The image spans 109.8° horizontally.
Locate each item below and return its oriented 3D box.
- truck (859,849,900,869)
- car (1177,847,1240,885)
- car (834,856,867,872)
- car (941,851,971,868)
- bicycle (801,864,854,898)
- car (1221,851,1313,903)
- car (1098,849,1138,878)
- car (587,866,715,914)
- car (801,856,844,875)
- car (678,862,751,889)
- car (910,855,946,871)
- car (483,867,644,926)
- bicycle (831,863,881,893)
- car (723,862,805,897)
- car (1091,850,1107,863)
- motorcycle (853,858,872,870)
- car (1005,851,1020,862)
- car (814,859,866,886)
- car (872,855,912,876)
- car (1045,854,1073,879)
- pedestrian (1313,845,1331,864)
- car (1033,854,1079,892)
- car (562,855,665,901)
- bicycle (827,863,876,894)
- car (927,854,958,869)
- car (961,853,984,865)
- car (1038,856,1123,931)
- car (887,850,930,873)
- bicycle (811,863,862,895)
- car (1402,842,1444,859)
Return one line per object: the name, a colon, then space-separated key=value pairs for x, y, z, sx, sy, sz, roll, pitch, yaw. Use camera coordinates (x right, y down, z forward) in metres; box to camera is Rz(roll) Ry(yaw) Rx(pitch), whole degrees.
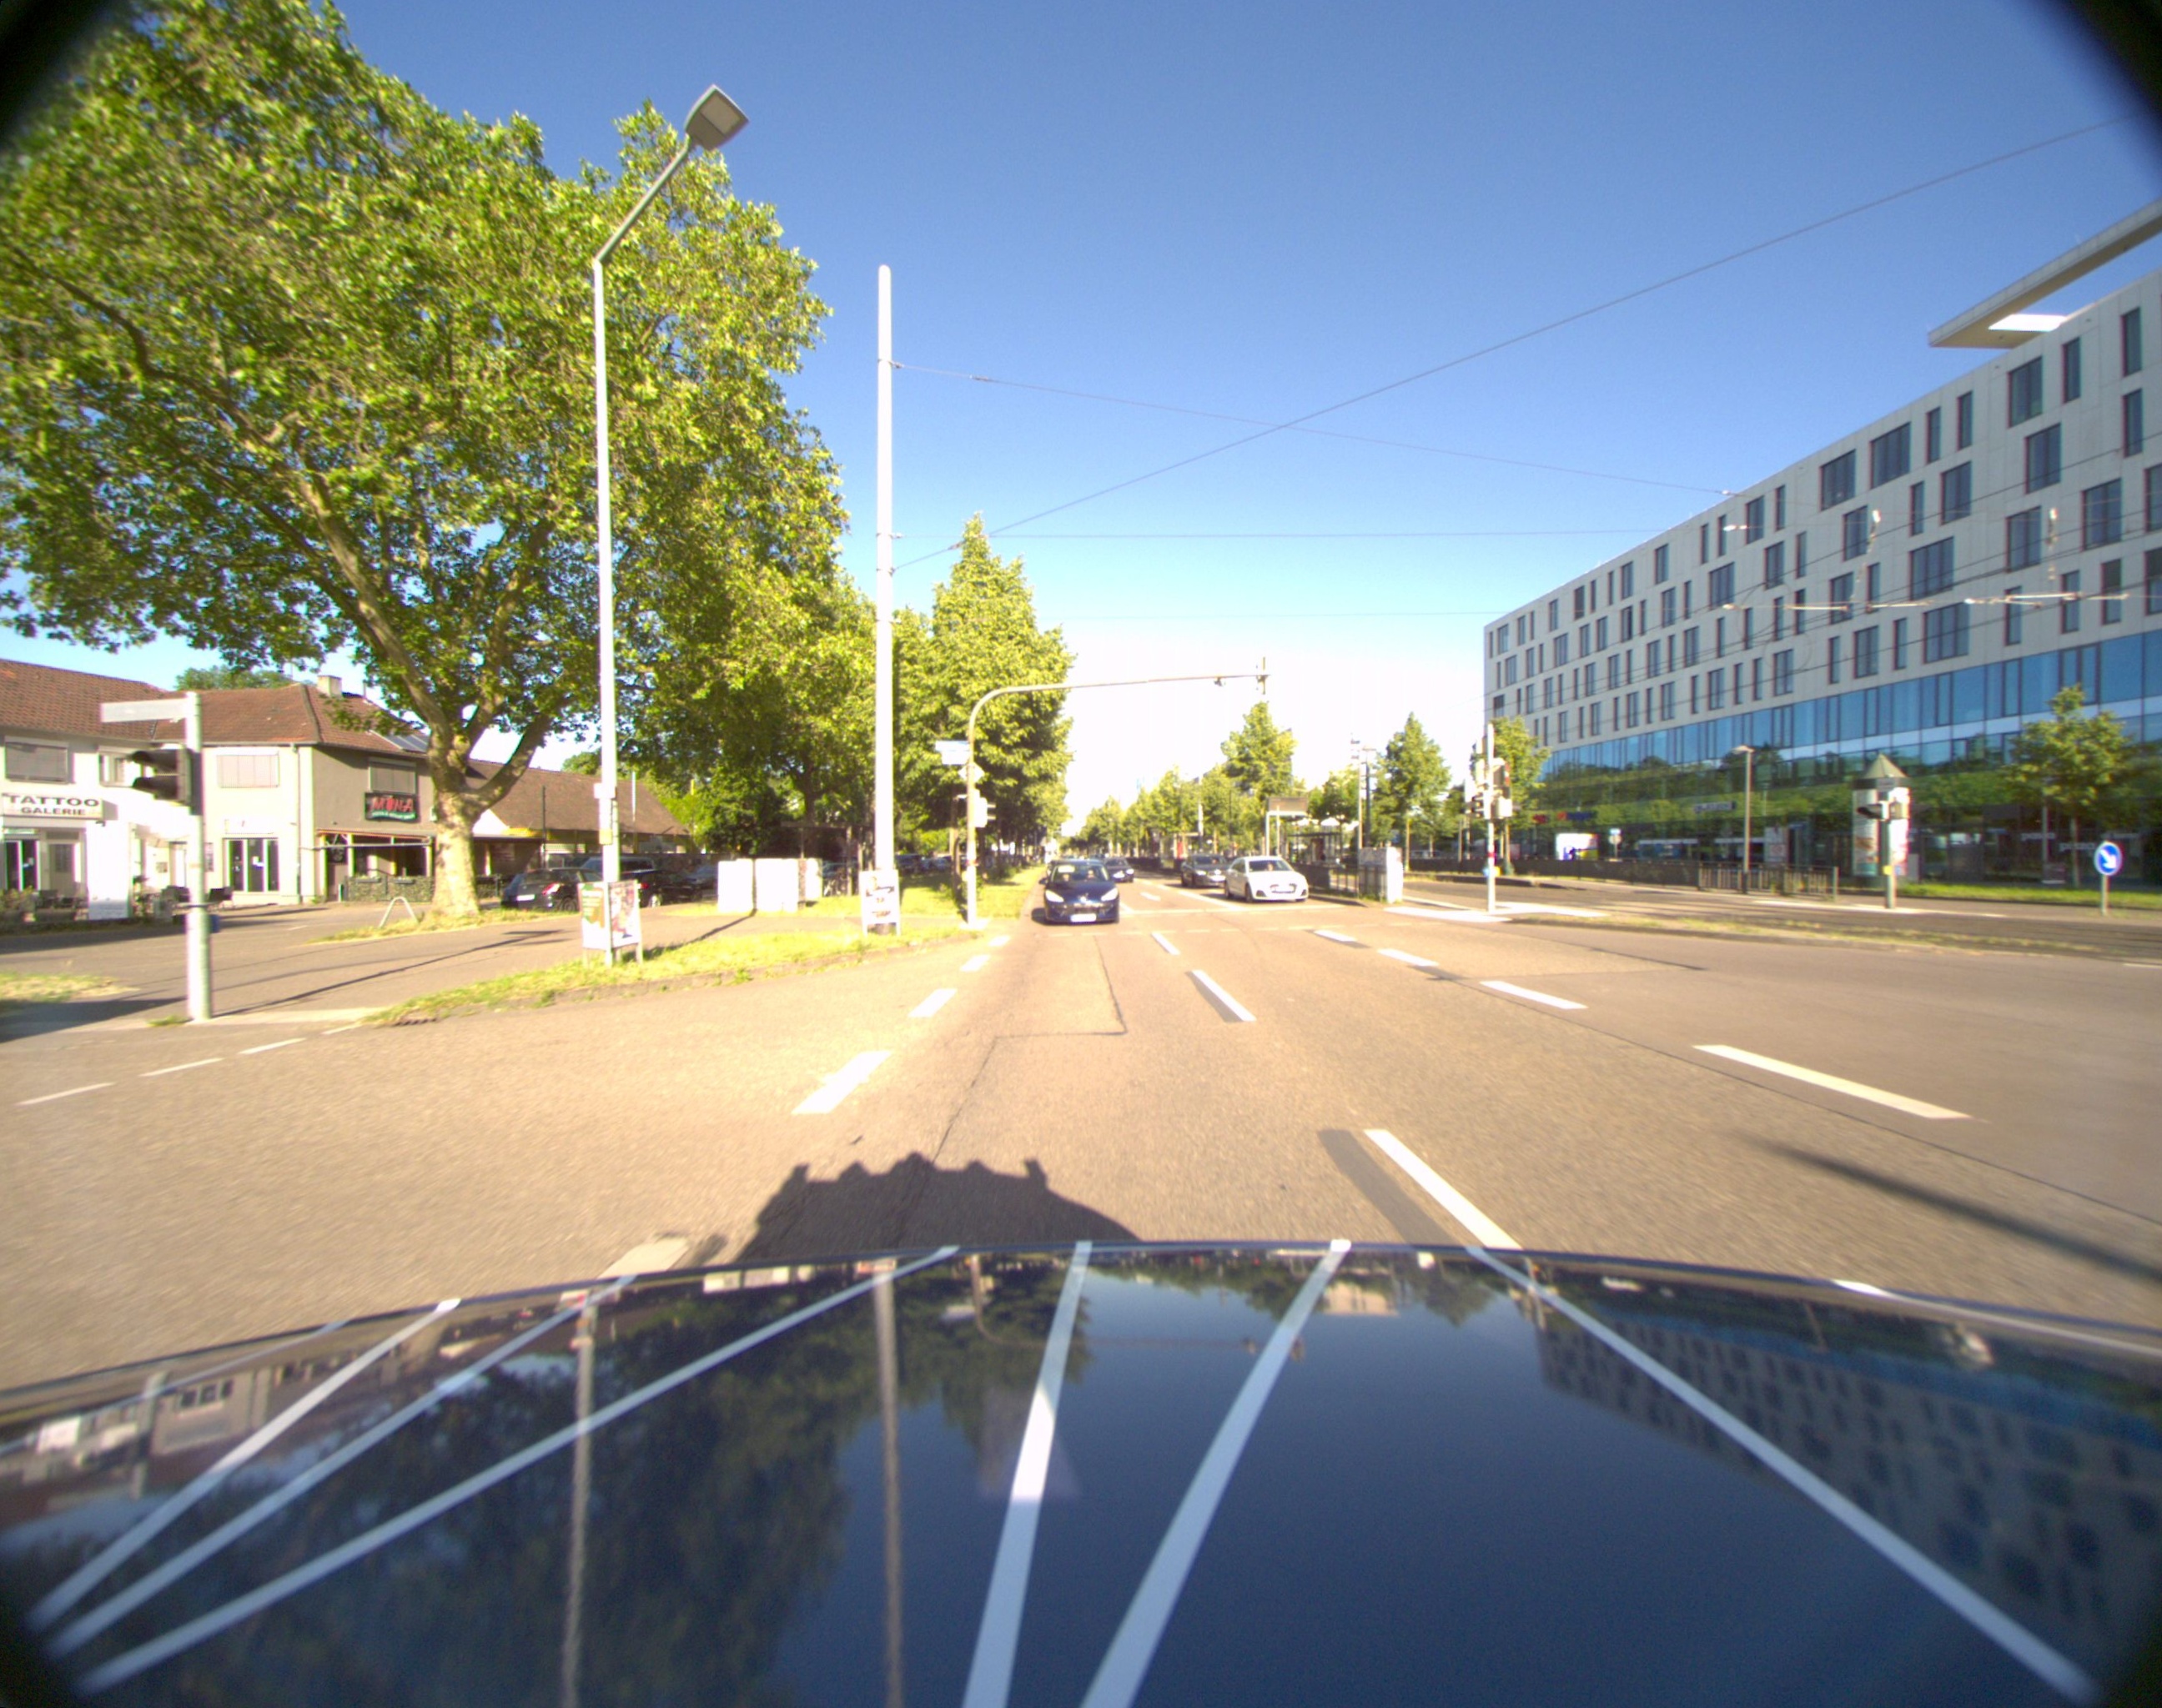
truck: x=-21.820 y=0.510 z=82.604 sx=2.455 sy=2.063 sz=6.580 roll=-1 pitch=0 yaw=1
car: x=5.589 y=0.483 z=33.753 sx=1.803 sy=1.518 sz=4.342 roll=-2 pitch=1 yaw=-3
car: x=-22.151 y=0.913 z=73.225 sx=1.795 sy=1.394 sz=4.172 roll=-1 pitch=0 yaw=2
car: x=-12.939 y=0.531 z=79.055 sx=1.998 sy=1.587 sz=4.655 roll=-1 pitch=0 yaw=4
bicycle: x=-9.071 y=0.949 z=27.198 sx=1.699 sy=1.162 sz=0.551 roll=-1 pitch=1 yaw=7
car: x=5.791 y=0.658 z=24.129 sx=1.676 sy=1.418 sz=4.004 roll=-2 pitch=1 yaw=-4
car: x=2.021 y=0.514 z=43.199 sx=1.803 sy=1.518 sz=4.342 roll=-2 pitch=1 yaw=-3
car: x=-15.029 y=1.210 z=26.883 sx=1.898 sy=1.403 sz=4.346 roll=-1 pitch=0 yaw=2
car: x=-22.623 y=0.983 z=66.655 sx=1.998 sy=1.520 sz=4.654 roll=-1 pitch=0 yaw=2
car: x=-22.667 y=1.273 z=47.285 sx=1.898 sy=1.477 sz=4.914 roll=-1 pitch=0 yaw=3
car: x=-13.360 y=0.759 z=66.752 sx=1.998 sy=1.242 sz=4.655 roll=-1 pitch=0 yaw=3
car: x=-15.044 y=1.169 z=22.404 sx=1.898 sy=1.457 sz=4.037 roll=-1 pitch=0 yaw=1
bicycle: x=-9.048 y=0.962 z=30.615 sx=1.807 sy=1.162 sz=0.551 roll=-1 pitch=1 yaw=2
car: x=-14.985 y=1.161 z=36.231 sx=1.898 sy=1.479 sz=4.347 roll=-1 pitch=0 yaw=3
car: x=2.065 y=0.327 z=89.812 sx=1.675 sy=1.418 sz=4.005 roll=-2 pitch=1 yaw=-1
motorcycle: x=-21.909 y=1.018 z=76.260 sx=1.744 sy=1.142 sz=0.734 roll=-2 pitch=1 yaw=-22
car: x=-10.601 y=0.354 z=118.512 sx=1.999 sy=1.576 sz=3.999 roll=-1 pitch=0 yaw=-1
car: x=-14.547 y=1.082 z=46.031 sx=1.899 sy=1.477 sz=4.049 roll=-1 pitch=0 yaw=-2
car: x=-13.863 y=0.811 z=55.839 sx=1.943 sy=1.372 sz=3.913 roll=-1 pitch=0 yaw=0
car: x=-1.485 y=0.827 z=52.668 sx=1.803 sy=1.518 sz=4.604 roll=-2 pitch=1 yaw=0
pedestrian: x=18.619 y=0.017 z=58.717 sx=1.068 sy=1.458 sz=0.844 roll=-1 pitch=1 yaw=3
car: x=-1.096 y=0.820 z=35.303 sx=1.803 sy=1.518 sz=4.605 roll=-2 pitch=1 yaw=1
car: x=-22.877 y=1.096 z=37.429 sx=1.898 sy=2.025 sz=5.070 roll=1 pitch=0 yaw=0
bicycle: x=-8.923 y=0.942 z=29.567 sx=1.700 sy=1.162 sz=0.551 roll=-1 pitch=1 yaw=0
car: x=-13.409 y=0.712 z=73.669 sx=1.998 sy=1.355 sz=4.866 roll=-1 pitch=0 yaw=1
car: x=-12.800 y=0.611 z=90.075 sx=1.998 sy=1.308 sz=4.545 roll=-1 pitch=0 yaw=1
car: x=0.037 y=0.879 z=18.912 sx=1.803 sy=1.518 sz=4.605 roll=-2 pitch=1 yaw=1
car: x=-13.772 y=0.581 z=60.940 sx=2.037 sy=1.732 sz=5.021 roll=-1 pitch=0 yaw=2
bicycle: x=-9.102 y=0.929 z=28.351 sx=1.700 sy=1.162 sz=0.551 roll=-1 pitch=1 yaw=1
car: x=32.408 y=-0.366 z=72.186 sx=1.803 sy=1.518 sz=4.342 roll=-2 pitch=1 yaw=-3
